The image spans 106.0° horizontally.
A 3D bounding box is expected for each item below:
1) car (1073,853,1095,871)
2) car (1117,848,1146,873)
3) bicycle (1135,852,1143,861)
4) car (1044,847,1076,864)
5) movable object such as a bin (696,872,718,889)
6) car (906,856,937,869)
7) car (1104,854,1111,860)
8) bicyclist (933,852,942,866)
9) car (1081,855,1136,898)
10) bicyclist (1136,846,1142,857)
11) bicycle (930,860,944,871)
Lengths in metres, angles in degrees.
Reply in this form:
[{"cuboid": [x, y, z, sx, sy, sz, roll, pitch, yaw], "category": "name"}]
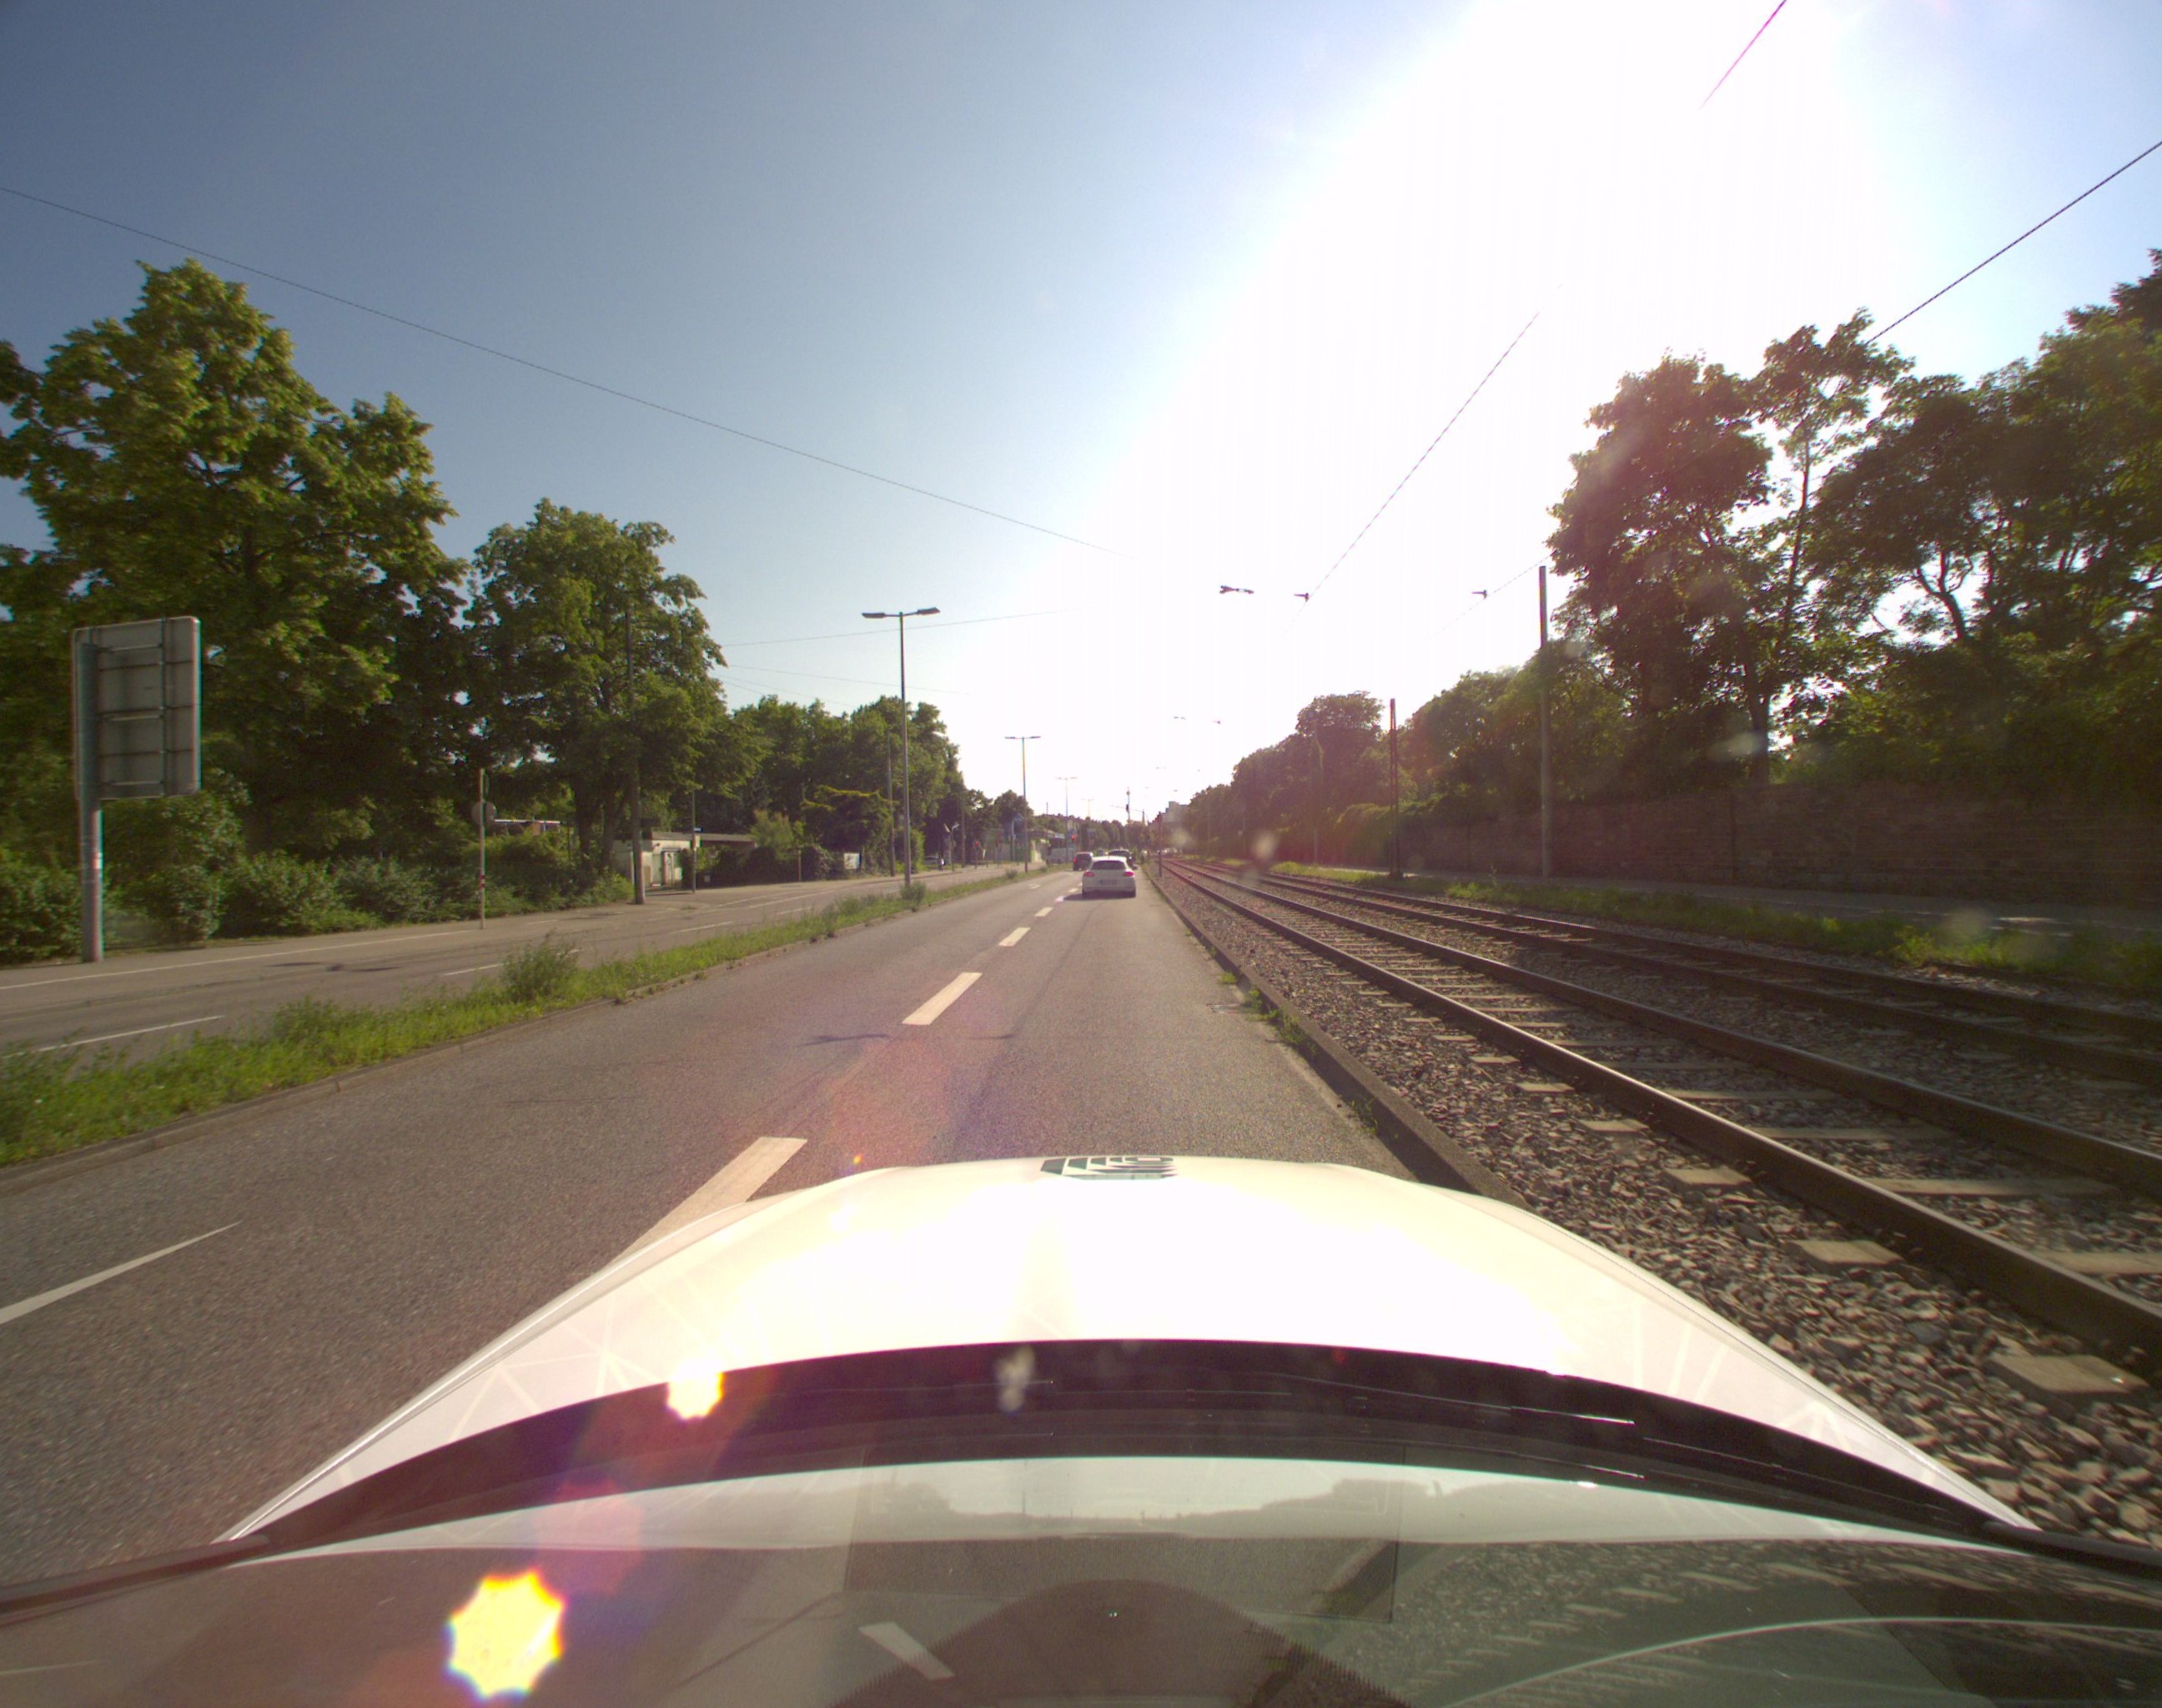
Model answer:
[{"cuboid": [0.283, 0.630, 66.986, 1.754, 1.485, 4.645, 0, 0, 0], "category": "car"}, {"cuboid": [3.343, 0.416, 54.132, 1.718, 1.593, 3.601, 0, 0, 0], "category": "car"}, {"cuboid": [8.048, 0.371, 112.912, 0.638, 1.154, 1.946, -2, 0, 19], "category": "bicycle"}, {"cuboid": [-2.572, 0.152, 99.295, 1.830, 1.963, 4.357, -1, 0, -32], "category": "car"}, {"cuboid": [-21.592, 1.509, 47.073, 0.813, 0.931, 0.854, -2, 0, 3], "category": "movable object such as a bin"}, {"cuboid": [-21.484, 1.098, 109.824, 3.938, 1.734, 1.650, 1, 0, -10], "category": "car"}, {"cuboid": [6.730, 0.844, 205.100, 1.645, 1.395, 4.139, -2, 0, 4], "category": "car"}, {"cuboid": [-14.832, 0.531, 84.175, 0.658, 1.452, 1.053, -2, 0, 7], "category": "bicyclist"}, {"cuboid": [1.006, 0.729, 28.297, 1.773, 1.356, 3.604, 0, 0, 3], "category": "car"}, {"cuboid": [8.022, -0.337, 112.876, 0.638, 1.416, 1.017, 1, 0, 18], "category": "bicyclist"}, {"cuboid": [-14.820, 1.197, 84.094, 0.658, 1.049, 2.586, -2, 0, 7], "category": "bicycle"}]
